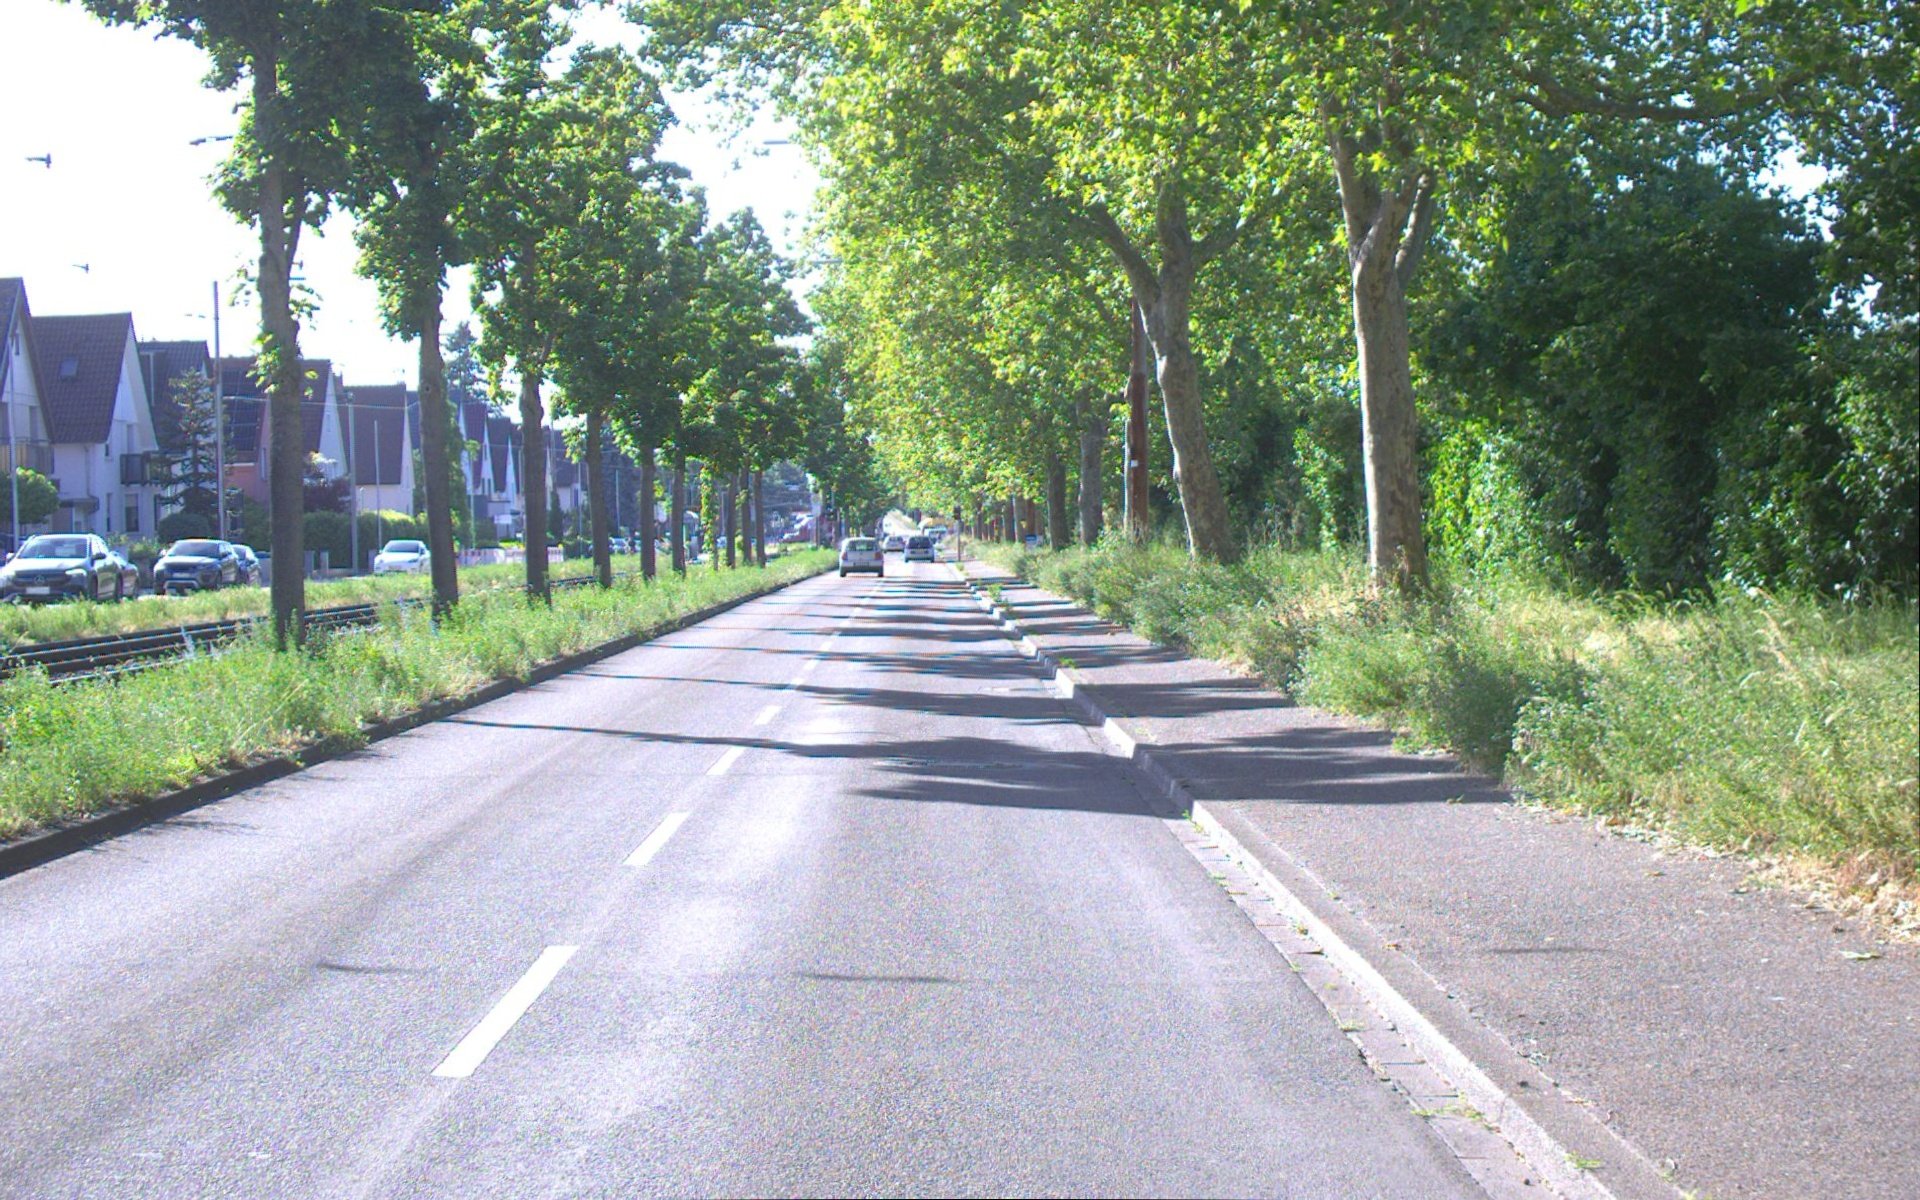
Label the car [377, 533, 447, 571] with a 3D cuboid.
[{"bbox_3d":[-23.279,-2.032,146.183,1.994,1.593,4.731,0,1,3],"label":"car"}]

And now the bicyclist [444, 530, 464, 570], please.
[{"bbox_3d":[-20.994,-2.076,142.729,0.688,1.646,0.881,0,1,-1],"label":"bicyclist"}]

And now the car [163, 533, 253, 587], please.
[{"bbox_3d":[-22.416,-1.185,102.593,1.644,1.563,4.386,0,1,1],"label":"car"}]

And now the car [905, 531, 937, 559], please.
[{"bbox_3d":[-2.169,-3.069,192.652,1.761,1.508,3.277,0,1,0],"label":"car"}]

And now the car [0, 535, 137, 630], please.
[{"bbox_3d":[-18.328,-0.366,70.262,1.915,1.876,4.524,0,1,1],"label":"car"}]

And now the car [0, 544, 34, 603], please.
[{"bbox_3d":[-28.674,-0.755,98.152,3.986,1.664,2.000,0,1,-4],"label":"car"}]

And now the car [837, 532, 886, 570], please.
[{"bbox_3d":[-3.629,-1.803,126.837,1.738,1.396,3.277,0,1,-1],"label":"car"}]
